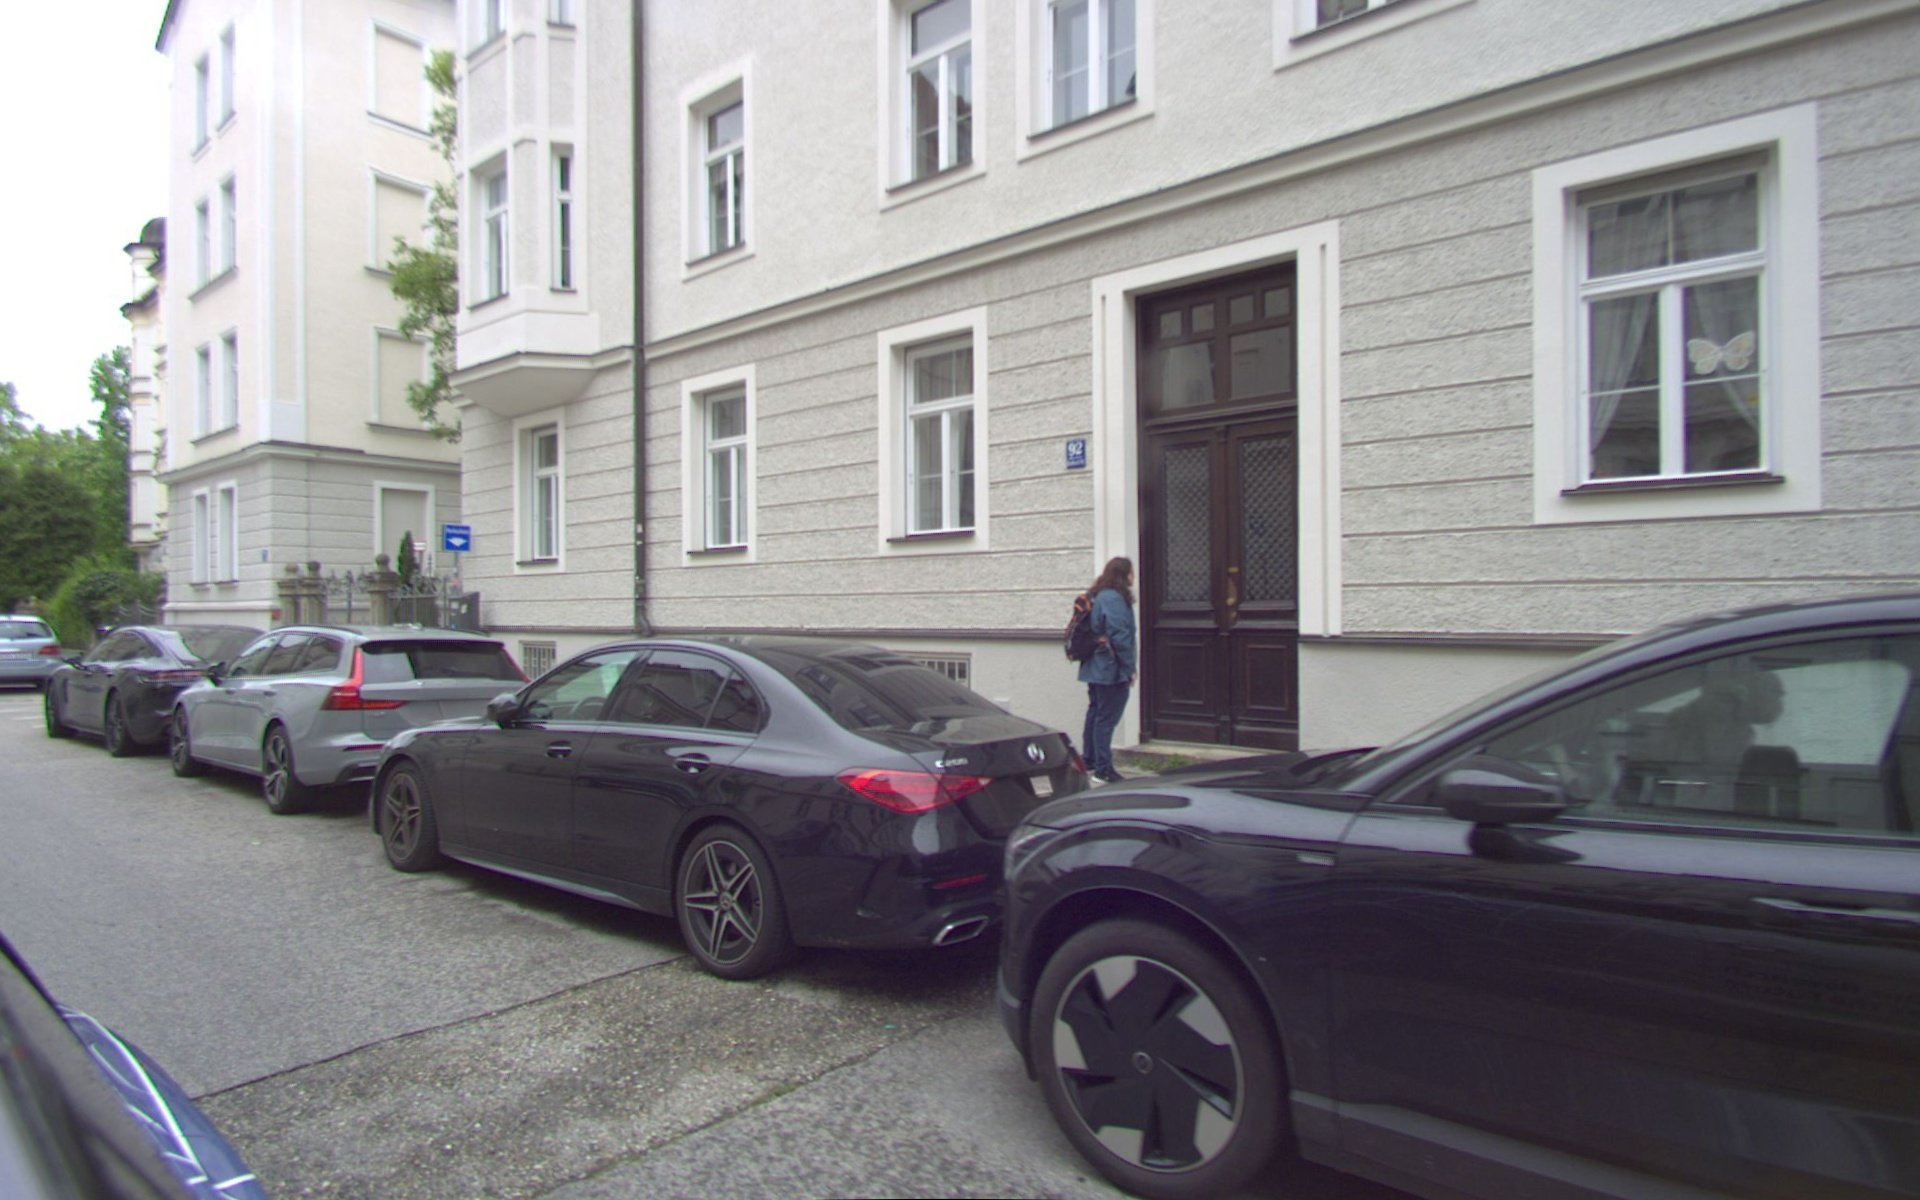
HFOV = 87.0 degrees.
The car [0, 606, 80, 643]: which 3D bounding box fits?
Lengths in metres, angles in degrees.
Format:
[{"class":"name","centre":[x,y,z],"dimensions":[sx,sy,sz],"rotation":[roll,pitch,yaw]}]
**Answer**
[{"class":"car","centre":[-49.583,1.297,53.348],"dimensions":[2.048,1.871,4.472],"rotation":[-1,0,32]}]

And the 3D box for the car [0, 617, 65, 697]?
[{"class":"car","centre":[-20.472,1.167,21.429],"dimensions":[4.058,1.593,1.679],"rotation":[-1,-2,40]}]

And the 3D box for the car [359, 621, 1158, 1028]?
[{"class":"car","centre":[-1.336,0.819,5.554],"dimensions":[4.435,1.395,1.794],"rotation":[-1,-1,36]}]

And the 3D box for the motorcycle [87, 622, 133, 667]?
[{"class":"motorcycle","centre":[-25.886,1.345,30.811],"dimensions":[1.819,1.259,0.698],"rotation":[0,2,39]}]

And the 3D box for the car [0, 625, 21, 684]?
[{"class":"car","centre":[-24.941,1.317,25.181],"dimensions":[3.994,1.413,1.629],"rotation":[-1,-2,37]}]

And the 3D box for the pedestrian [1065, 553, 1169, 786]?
[{"class":"pedestrian","centre":[1.206,0.515,7.891],"dimensions":[0.656,1.720,0.700],"rotation":[-1,0,-1]}]

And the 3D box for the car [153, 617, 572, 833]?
[{"class":"car","centre":[-5.461,0.898,8.994],"dimensions":[4.507,1.430,1.776],"rotation":[0,-2,40]}]

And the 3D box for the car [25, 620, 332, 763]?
[{"class":"car","centre":[-9.658,0.968,12.365],"dimensions":[4.695,1.377,1.832],"rotation":[-1,0,38]}]

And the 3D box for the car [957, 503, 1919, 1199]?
[{"class":"car","centre":[2.151,0.584,2.151],"dimensions":[4.177,1.498,1.724],"rotation":[-1,0,39]}]
